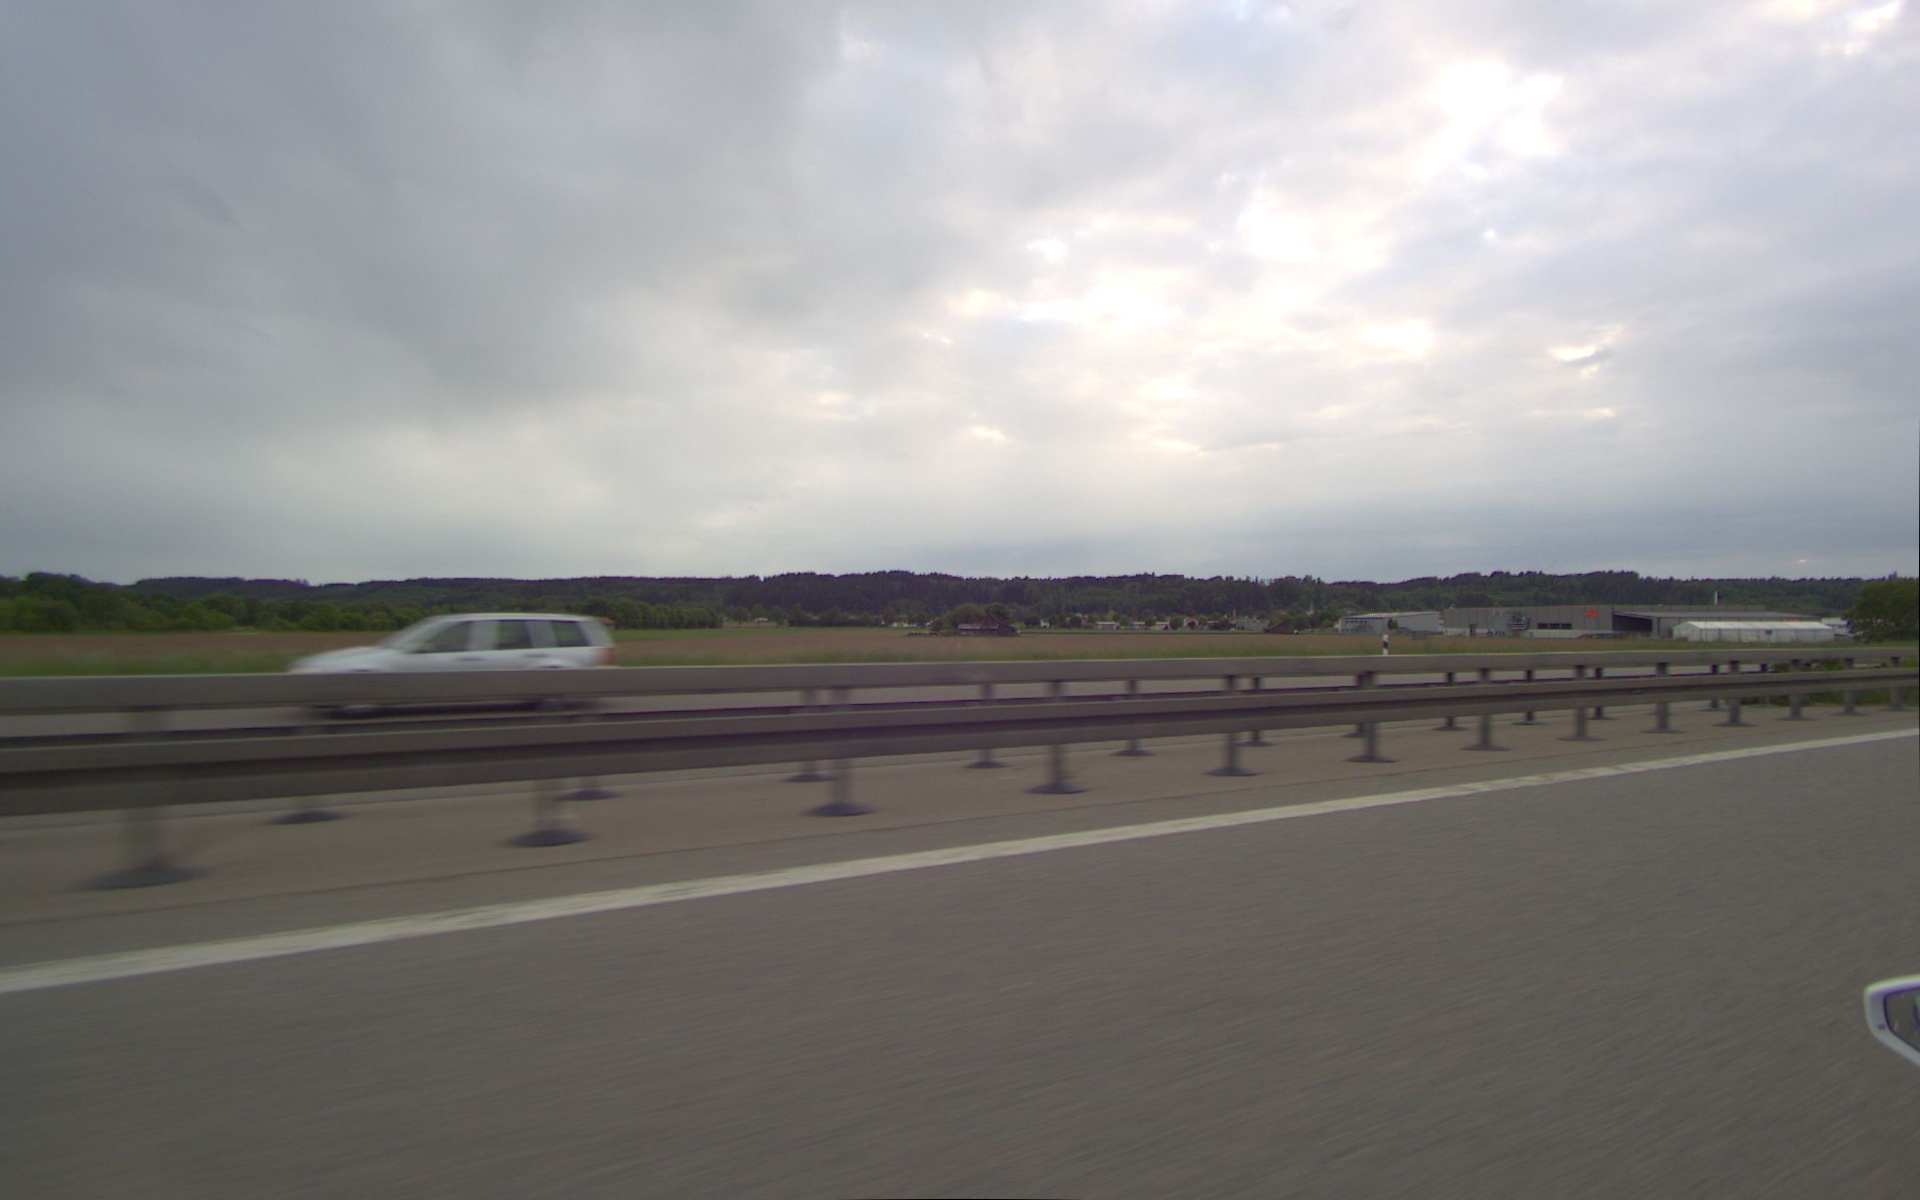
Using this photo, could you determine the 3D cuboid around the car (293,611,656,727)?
[{"bbox_3d":[-7.262,0.972,15.304,4.709,1.516,1.983,2,-1,-31],"label":"car"}]
